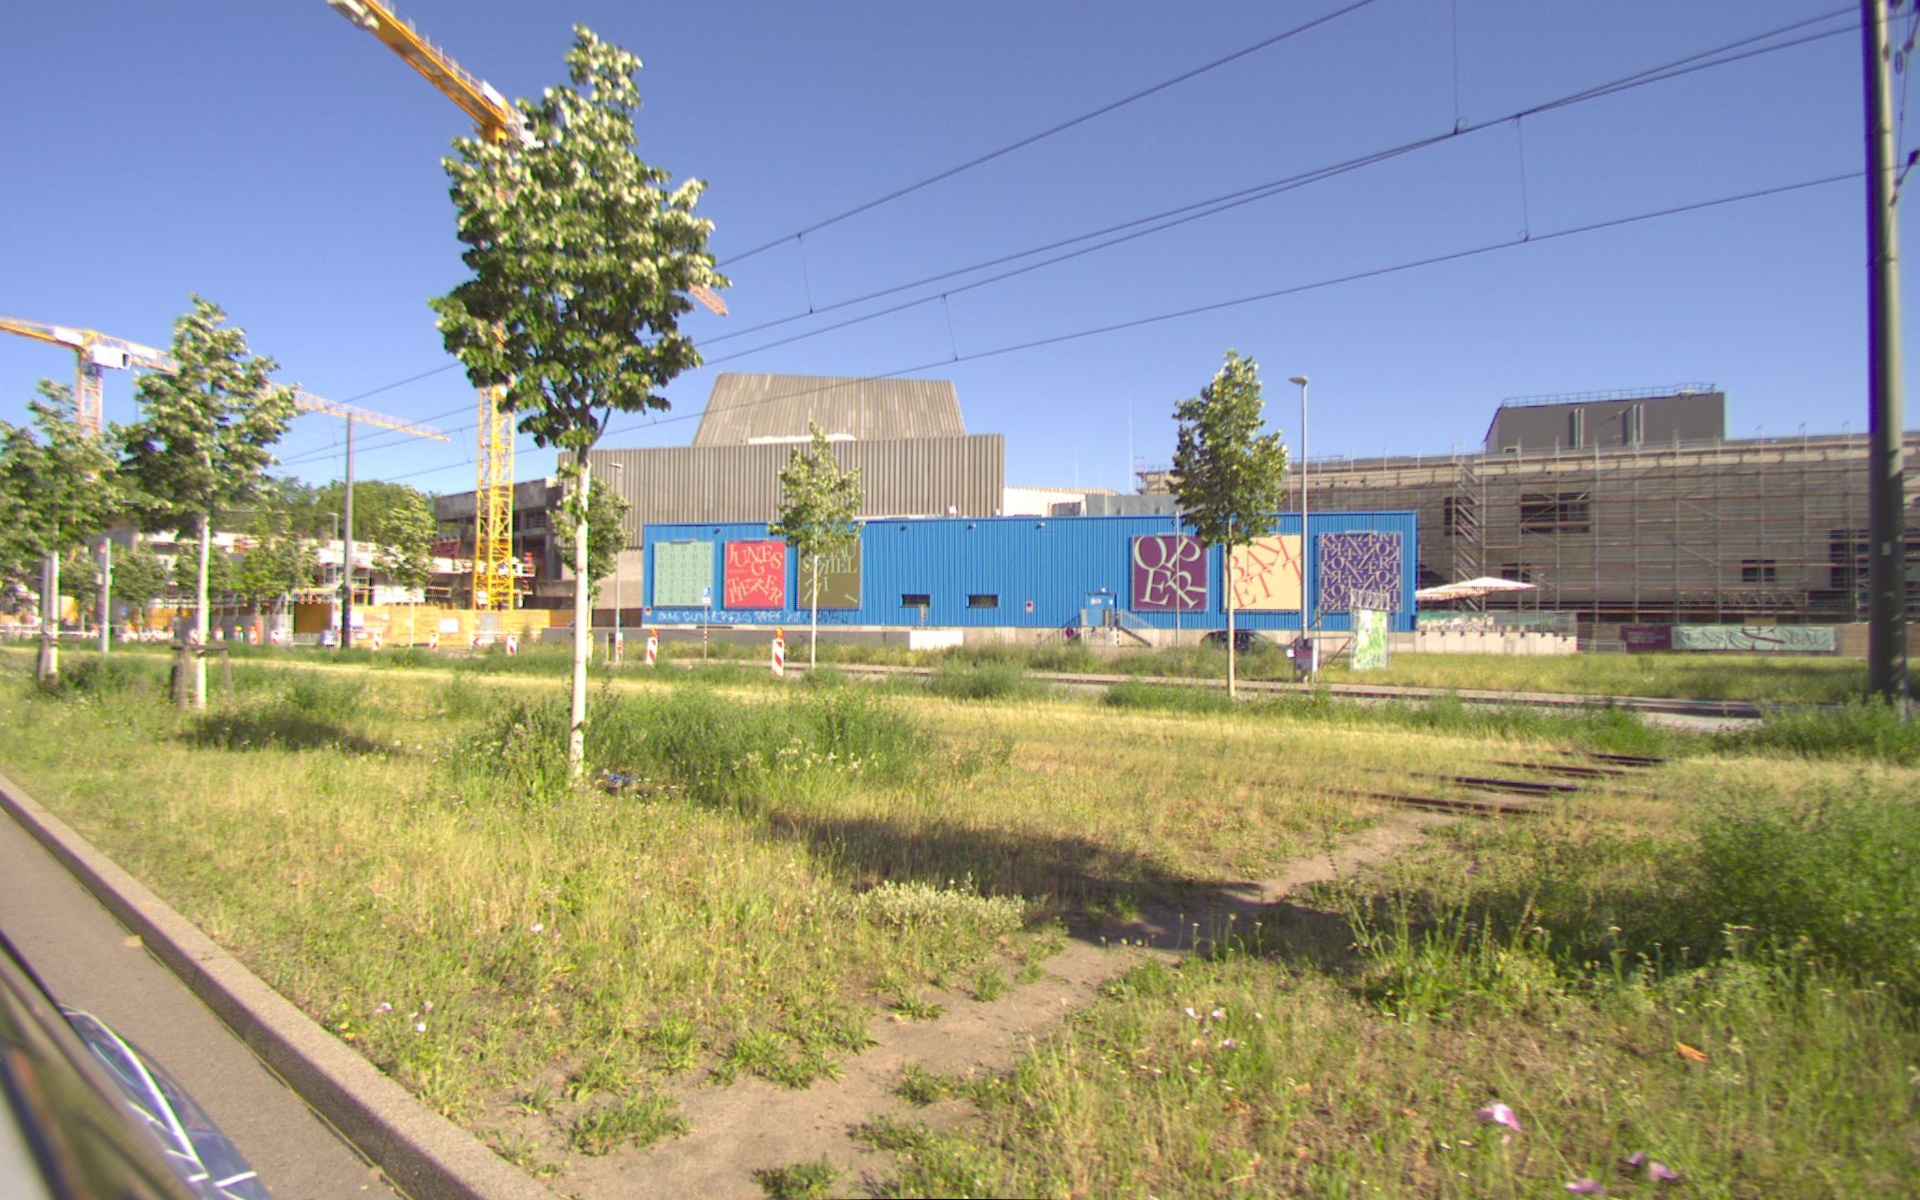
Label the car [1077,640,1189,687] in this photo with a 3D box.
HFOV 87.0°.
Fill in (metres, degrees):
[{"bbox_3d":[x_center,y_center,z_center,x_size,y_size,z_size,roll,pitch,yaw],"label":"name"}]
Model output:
[{"bbox_3d":[6.412,2.335,37.736,3.855,1.547,1.542,0,0,40],"label":"car"}]
